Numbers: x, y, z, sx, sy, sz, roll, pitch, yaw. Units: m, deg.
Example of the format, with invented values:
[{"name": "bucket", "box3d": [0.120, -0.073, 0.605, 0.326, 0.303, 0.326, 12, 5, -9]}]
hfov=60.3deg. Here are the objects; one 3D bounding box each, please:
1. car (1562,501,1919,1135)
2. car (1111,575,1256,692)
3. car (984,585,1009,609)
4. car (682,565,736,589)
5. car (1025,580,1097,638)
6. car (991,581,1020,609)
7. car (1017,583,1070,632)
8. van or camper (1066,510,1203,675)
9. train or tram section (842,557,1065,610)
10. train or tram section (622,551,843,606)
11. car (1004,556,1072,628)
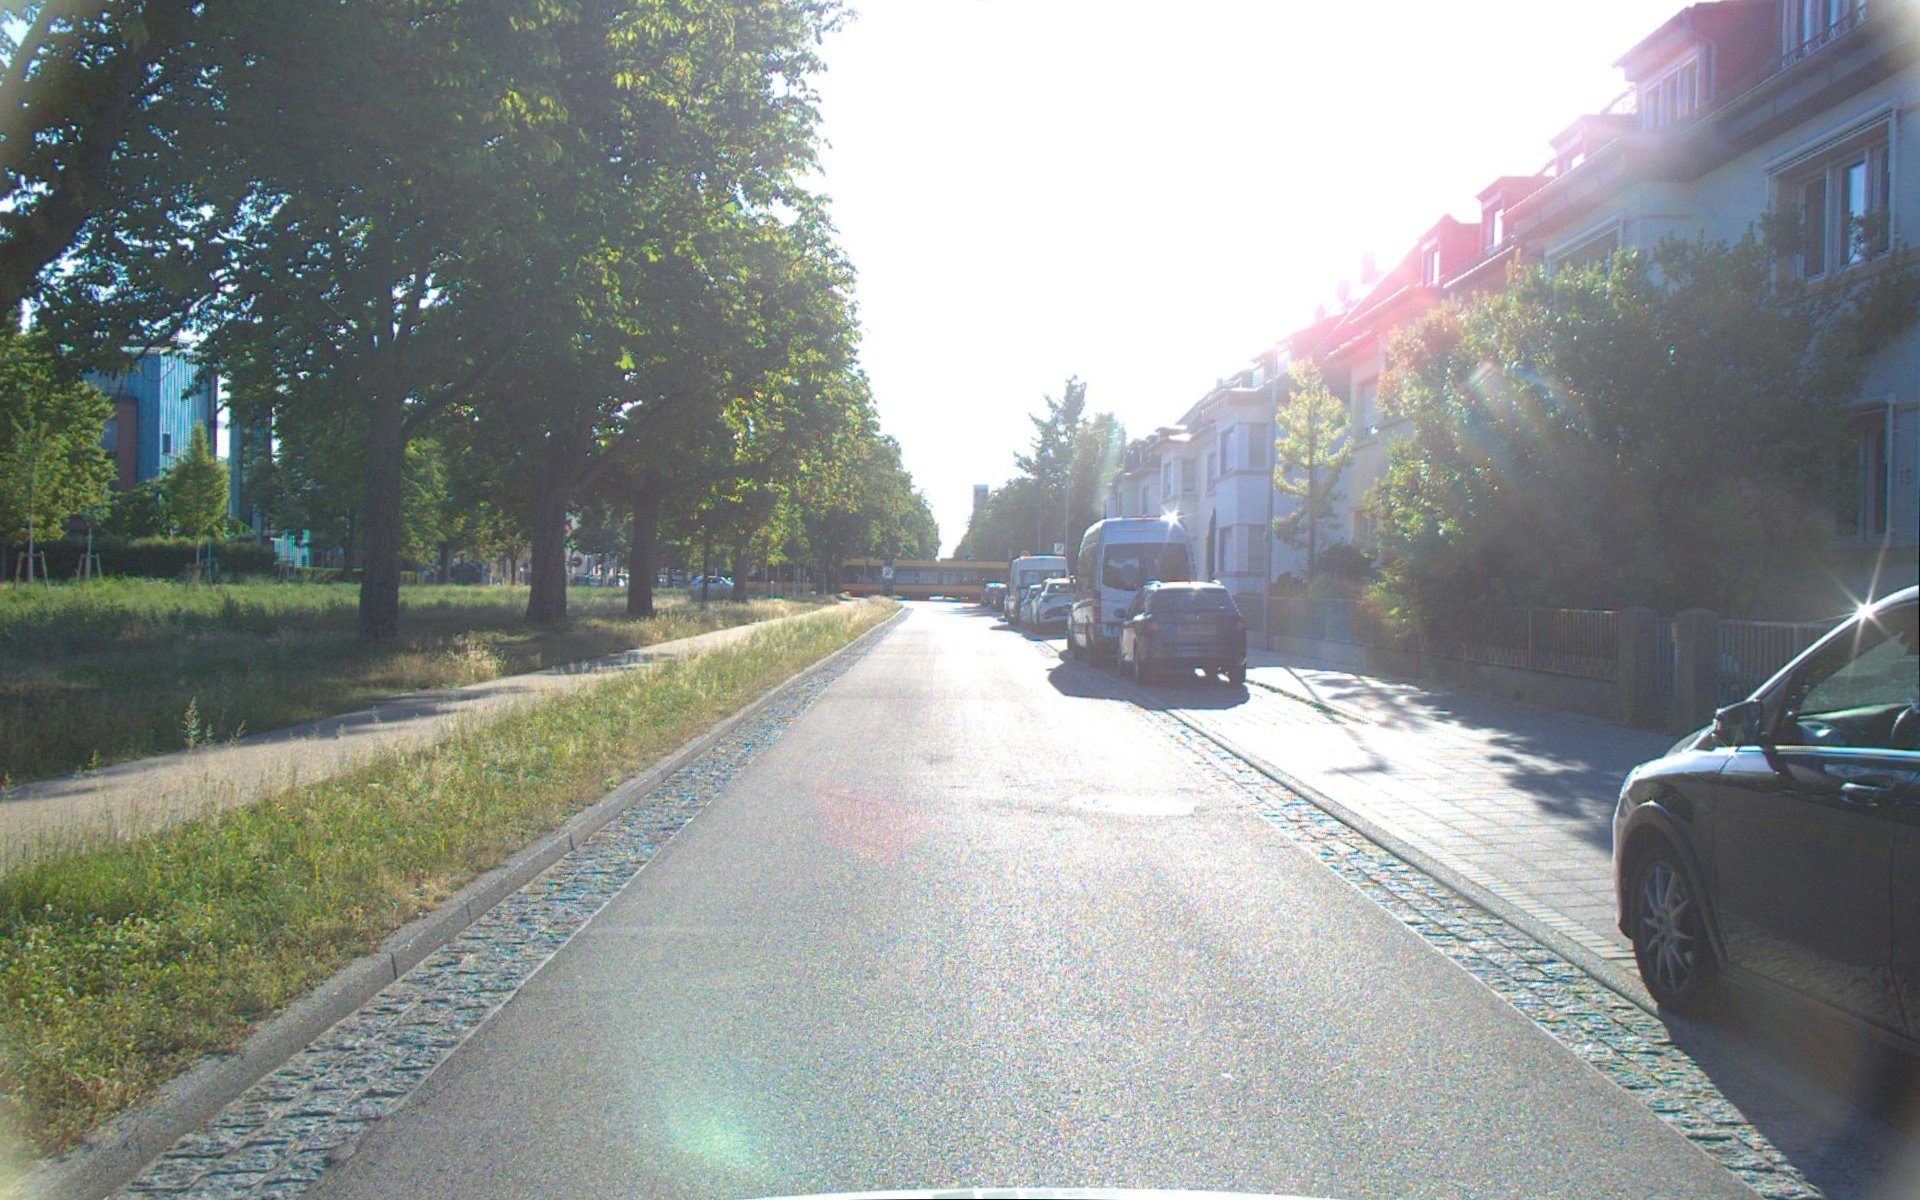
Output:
[{"name": "car", "box3d": [3.464, 0.552, 4.757, 1.795, 1.714, 4.415, -2, 1, 0]}, {"name": "car", "box3d": [3.367, 0.462, 25.598, 1.630, 1.620, 4.085, -2, 1, 0]}, {"name": "car", "box3d": [2.429, -0.215, 110.990, 1.616, 1.557, 3.851, 0, 1, 1]}, {"name": "car", "box3d": [-20.458, -1.904, 134.741, 4.266, 1.795, 1.996, 2, 0, -9]}, {"name": "car", "box3d": [3.047, 0.245, 50.703, 1.800, 1.664, 4.130, 0, 1, -2]}, {"name": "car", "box3d": [2.563, -0.306, 94.120, 1.616, 1.557, 3.851, 0, 1, 1]}, {"name": "car", "box3d": [2.797, 0.232, 55.908, 1.616, 1.557, 3.851, 0, 1, 1]}, {"name": "van or camper", "box3d": [3.247, -0.127, 31.986, 1.904, 2.826, 5.939, 2, 0, 0]}, {"name": "train or tram section", "box3d": [-0.623, -1.436, 146.002, 19.397, 4.025, 3.640, 2, 0, -5]}, {"name": "train or tram section", "box3d": [-19.683, -1.854, 144.145, 18.702, 4.025, 3.640, 2, 0, -5]}, {"name": "car", "box3d": [2.886, -0.333, 62.176, 2.084, 2.577, 5.186, 0, 1, -2]}]
